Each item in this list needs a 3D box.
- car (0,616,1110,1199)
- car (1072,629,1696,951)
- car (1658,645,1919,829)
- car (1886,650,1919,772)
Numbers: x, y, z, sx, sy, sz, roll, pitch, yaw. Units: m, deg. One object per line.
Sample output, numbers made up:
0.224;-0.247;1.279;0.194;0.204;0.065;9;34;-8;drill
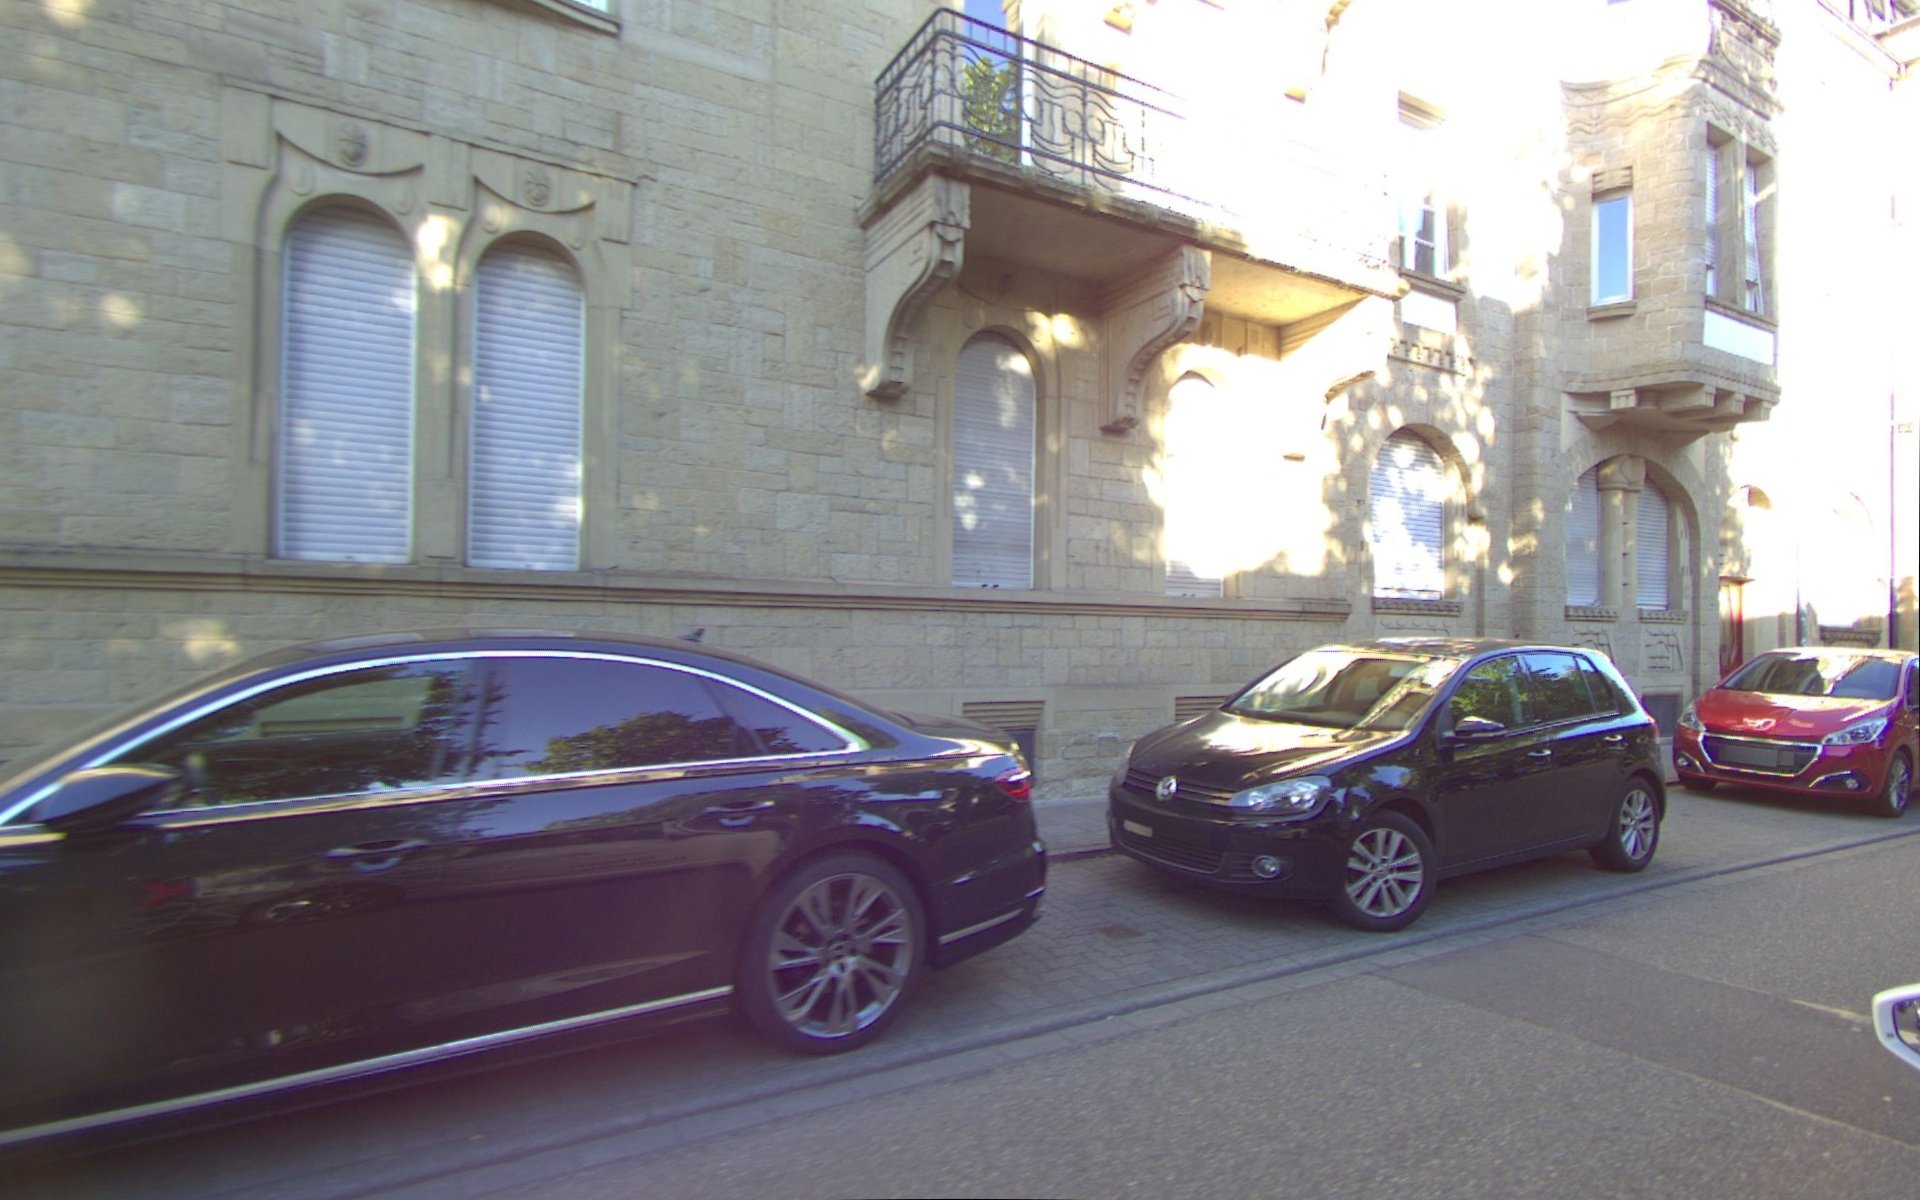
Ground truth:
-1.940;0.845;3.619;4.841;1.446;1.802;2;0;-31;car
2.812;0.972;6.403;3.983;1.472;1.687;3;-2;-32;car
8.820;1.218;10.119;3.796;1.472;1.620;1;-1;-33;car
13.854;1.409;12.852;4.496;1.449;1.668;1;0;-30;car
